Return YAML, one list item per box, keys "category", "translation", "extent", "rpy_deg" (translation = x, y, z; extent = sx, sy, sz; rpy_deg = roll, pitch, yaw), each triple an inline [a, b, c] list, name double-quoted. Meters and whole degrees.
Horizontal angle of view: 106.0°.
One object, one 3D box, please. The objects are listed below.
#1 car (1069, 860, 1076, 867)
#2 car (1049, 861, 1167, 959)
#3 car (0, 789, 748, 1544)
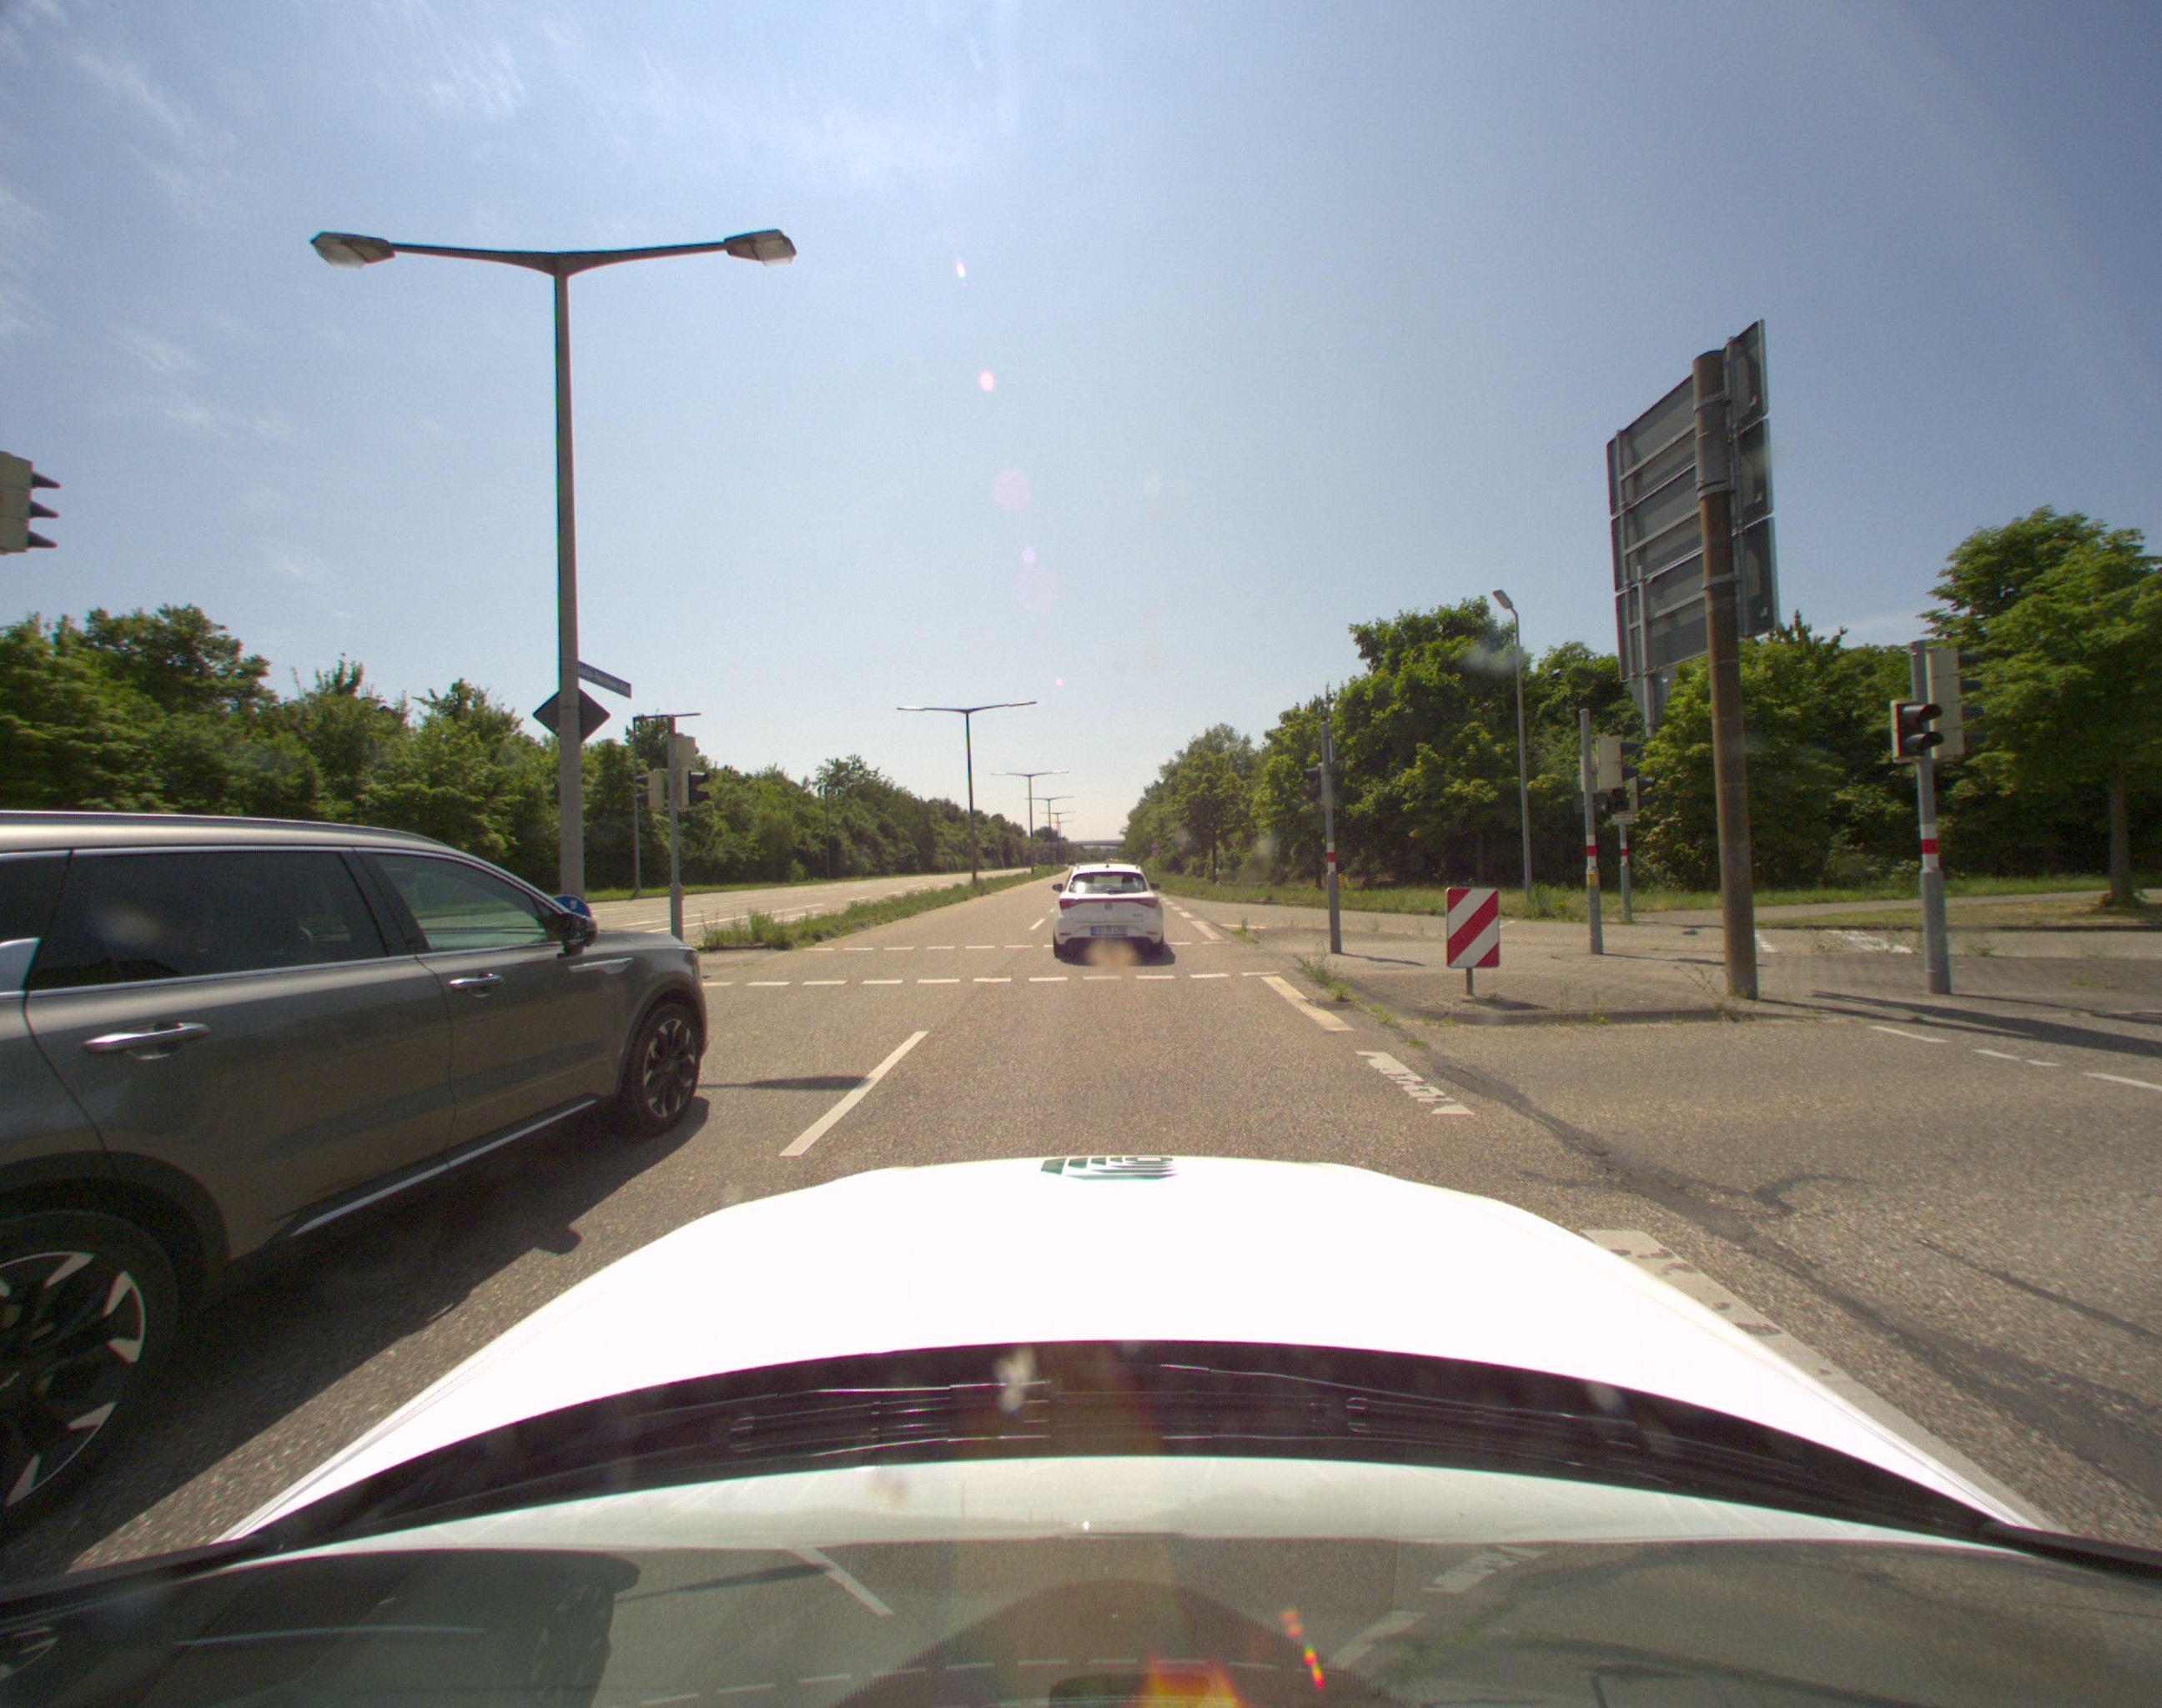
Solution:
- category: "car"
  translation: [-2.316, 2.629, 229.368]
  extent: [1.849, 1.709, 3.999]
  rpy_deg: [-3, 0, 0]
- category: "car"
  translation: [0.474, 0.848, 13.771]
  extent: [1.727, 1.428, 3.696]
  rpy_deg: [0, -1, 2]
- category: "car"
  translation: [-3.236, 0.720, 3.124]
  extent: [1.797, 1.662, 4.647]
  rpy_deg: [-2, -1, 2]
